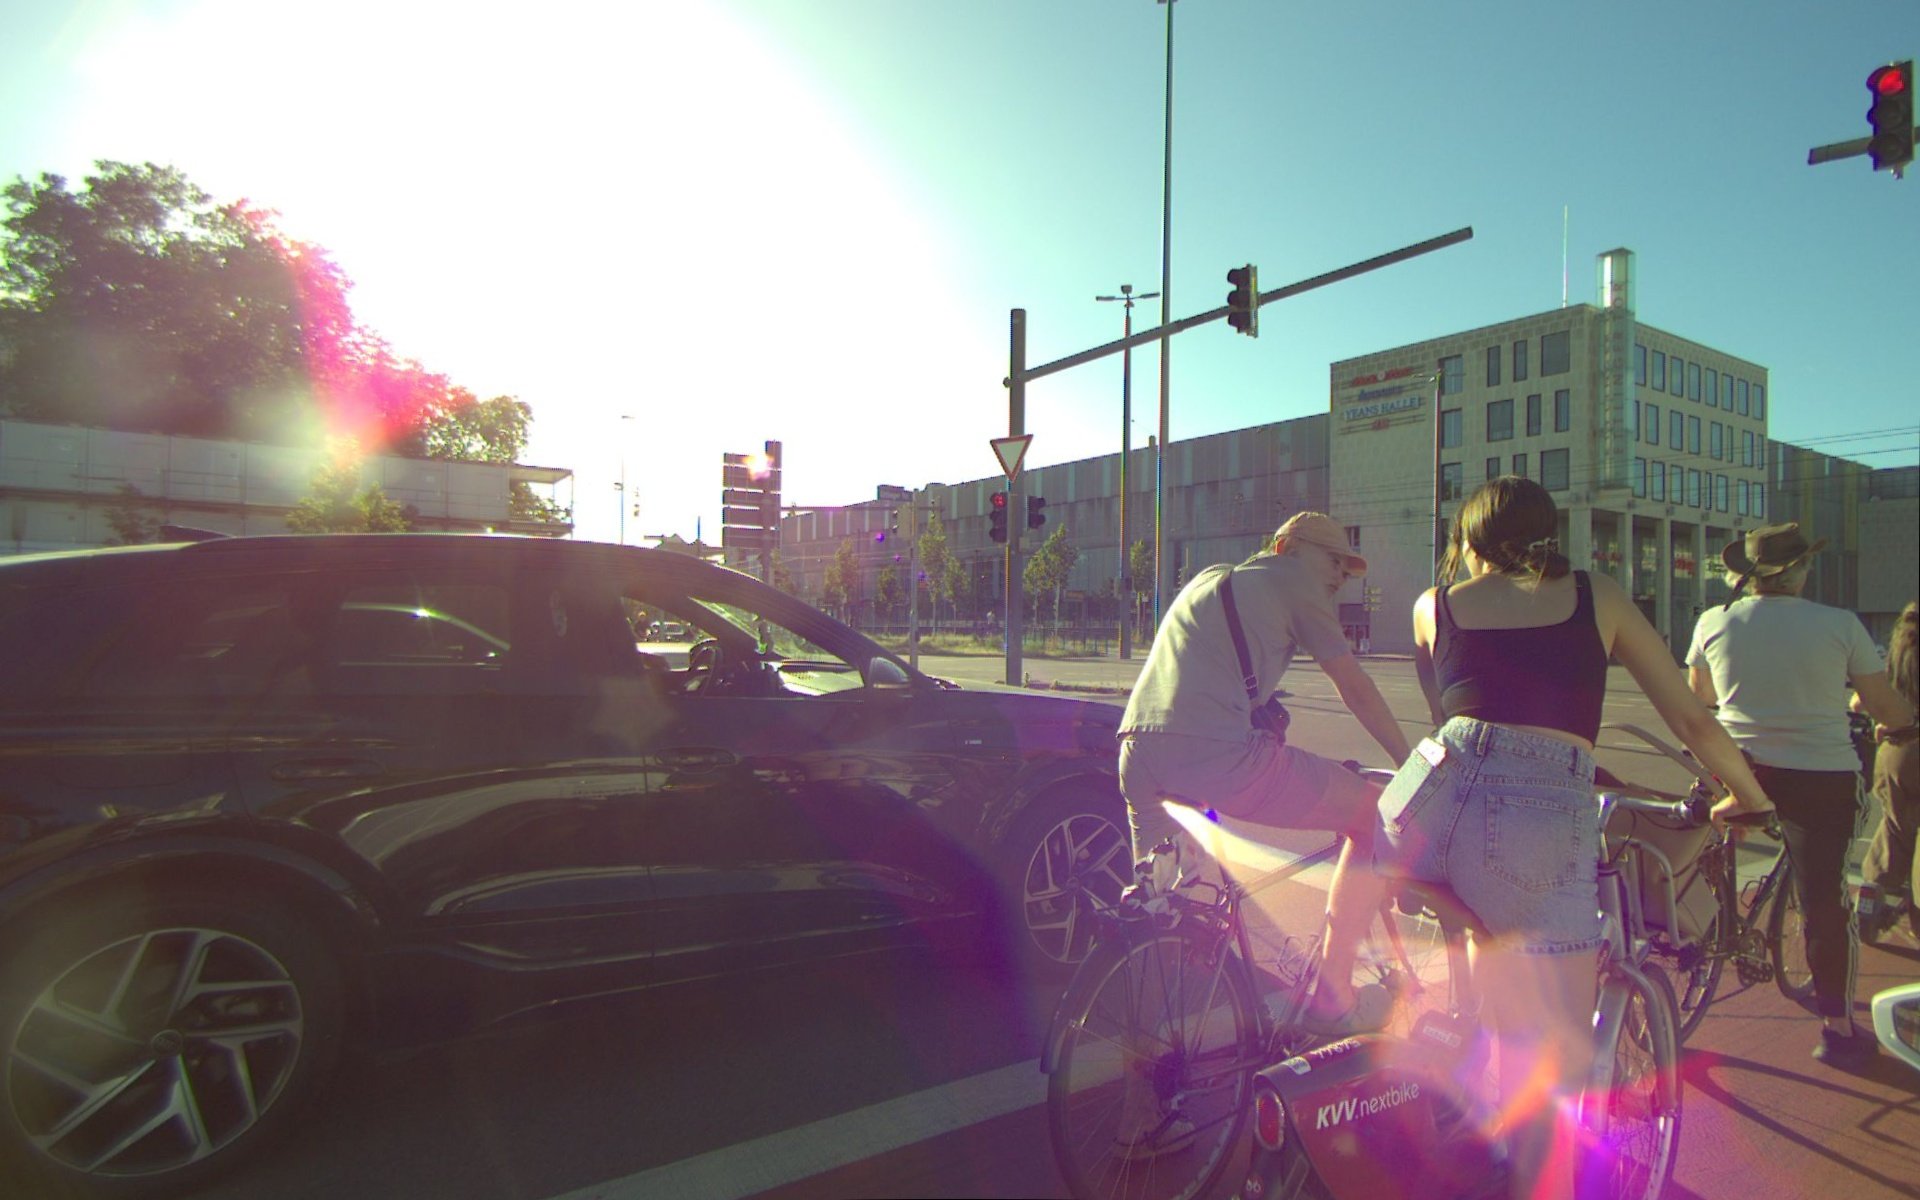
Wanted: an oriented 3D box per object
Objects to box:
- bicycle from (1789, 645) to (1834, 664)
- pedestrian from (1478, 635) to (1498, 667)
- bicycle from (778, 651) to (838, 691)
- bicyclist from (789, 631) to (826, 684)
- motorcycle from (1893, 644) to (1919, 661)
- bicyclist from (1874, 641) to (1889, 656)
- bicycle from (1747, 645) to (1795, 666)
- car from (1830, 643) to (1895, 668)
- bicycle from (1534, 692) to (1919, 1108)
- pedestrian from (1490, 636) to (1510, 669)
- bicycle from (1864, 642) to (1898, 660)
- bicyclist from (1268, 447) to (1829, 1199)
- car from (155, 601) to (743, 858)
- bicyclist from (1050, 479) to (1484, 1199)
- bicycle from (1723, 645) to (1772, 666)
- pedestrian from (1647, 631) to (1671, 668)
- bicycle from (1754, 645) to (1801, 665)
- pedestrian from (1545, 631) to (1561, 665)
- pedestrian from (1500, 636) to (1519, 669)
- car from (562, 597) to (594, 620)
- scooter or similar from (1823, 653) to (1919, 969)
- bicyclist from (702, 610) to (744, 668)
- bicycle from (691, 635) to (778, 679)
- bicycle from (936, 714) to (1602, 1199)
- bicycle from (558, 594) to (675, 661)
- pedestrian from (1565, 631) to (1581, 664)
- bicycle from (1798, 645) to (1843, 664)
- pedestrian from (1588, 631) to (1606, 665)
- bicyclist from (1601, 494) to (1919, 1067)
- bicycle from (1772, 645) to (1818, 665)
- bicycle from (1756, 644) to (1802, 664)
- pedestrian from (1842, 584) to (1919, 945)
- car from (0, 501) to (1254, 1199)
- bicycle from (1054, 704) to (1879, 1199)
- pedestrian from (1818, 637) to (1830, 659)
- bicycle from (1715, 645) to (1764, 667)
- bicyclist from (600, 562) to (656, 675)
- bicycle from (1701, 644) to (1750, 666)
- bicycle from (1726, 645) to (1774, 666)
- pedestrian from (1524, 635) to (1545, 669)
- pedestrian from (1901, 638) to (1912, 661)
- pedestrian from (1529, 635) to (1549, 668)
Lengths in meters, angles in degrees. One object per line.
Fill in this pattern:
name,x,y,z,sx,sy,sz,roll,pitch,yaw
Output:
bicycle,58.854,3.747,69.427,0.605,1.238,2.295,1,-1,-31
pedestrian,32.330,3.132,61.514,0.710,1.910,0.779,2,0,-36
bicycle,-6.044,2.782,39.755,0.962,1.388,2.930,2,0,-40
bicyclist,-6.040,2.254,39.747,0.985,2.040,1.088,2,0,-40
motorcycle,70.741,3.922,74.853,0.508,1.223,1.786,1,0,-44
bicyclist,67.571,3.554,73.663,0.612,1.099,0.512,1,0,11
bicycle,51.278,3.486,63.551,0.605,1.238,2.295,1,-1,-31
car,49.784,3.074,55.409,3.956,1.359,1.621,2,-4,-32
bicycle,2.877,0.962,3.683,1.810,1.171,0.482,2,0,-31
pedestrian,32.163,3.138,59.869,0.710,1.910,0.779,2,0,-36
bicycle,67.536,3.756,73.685,1.774,1.223,0.512,1,0,15
bicyclist,1.185,0.570,2.044,0.866,1.600,0.638,1,0,-33
car,-3.588,0.790,7.500,3.562,1.505,1.485,1,0,-30
bicyclist,0.801,0.560,2.677,0.833,1.627,0.712,1,0,-32
bicycle,48.048,3.376,61.338,0.605,1.238,2.295,1,-1,-31
pedestrian,38.755,2.737,55.666,0.767,2.040,0.876,2,0,-41
bicycle,52.903,3.543,65.018,0.605,1.238,2.295,1,-1,-31
pedestrian,34.229,2.737,57.996,0.705,1.910,0.785,2,0,33
pedestrian,33.225,3.175,60.690,0.780,1.910,0.709,2,0,-37
car,-32.933,0.725,86.519,1.785,1.908,3.964,2,0,-33
scooter or similar,4.490,0.927,4.717,1.186,1.311,0.541,2,0,-45
bicyclist,-8.572,1.390,36.355,1.078,2.040,0.961,2,0,16
bicycle,-8.130,2.039,36.219,2.905,1.388,0.970,2,0,16
bicycle,0.938,0.954,2.774,1.949,1.124,0.643,1,0,-33
bicycle,-9.742,0.759,28.559,3.047,1.835,0.835,0,1,-32
pedestrian,35.631,2.740,58.425,0.784,1.868,0.862,0,-1,32
bicycle,59.825,3.779,69.851,0.605,1.238,2.295,1,-1,-31
pedestrian,35.873,2.704,56.584,0.784,1.868,0.863,0,-1,29
bicyclist,2.867,0.557,3.556,0.856,1.743,0.657,2,0,-30
bicycle,55.521,3.632,66.829,0.605,1.238,2.295,1,-1,-31
bicycle,54.282,3.593,66.566,0.605,1.238,2.295,1,-1,-31
pedestrian,4.631,0.763,4.810,0.568,1.654,0.543,2,0,-45
car,-1.156,0.632,3.874,4.630,1.656,1.760,1,0,-32
bicycle,1.088,0.888,1.982,1.811,1.234,0.612,1,0,-33
pedestrian,68.576,3.791,79.738,0.610,1.702,0.565,1,0,-39
bicycle,46.965,3.339,60.527,0.605,1.238,2.295,1,-1,-31
bicyclist,-9.488,0.537,28.705,1.292,3.144,0.835,2,0,-32
bicycle,45.763,3.300,60.083,0.605,1.238,2.295,1,-1,-31
bicycle,48.698,3.399,61.959,0.605,1.238,2.295,1,-1,-31
pedestrian,33.398,3.016,58.378,0.710,1.910,0.779,2,0,-36
pedestrian,71.099,3.686,75.453,0.579,1.702,0.516,1,1,-43
pedestrian,34.408,3.054,59.690,0.710,1.910,0.779,2,0,-36
